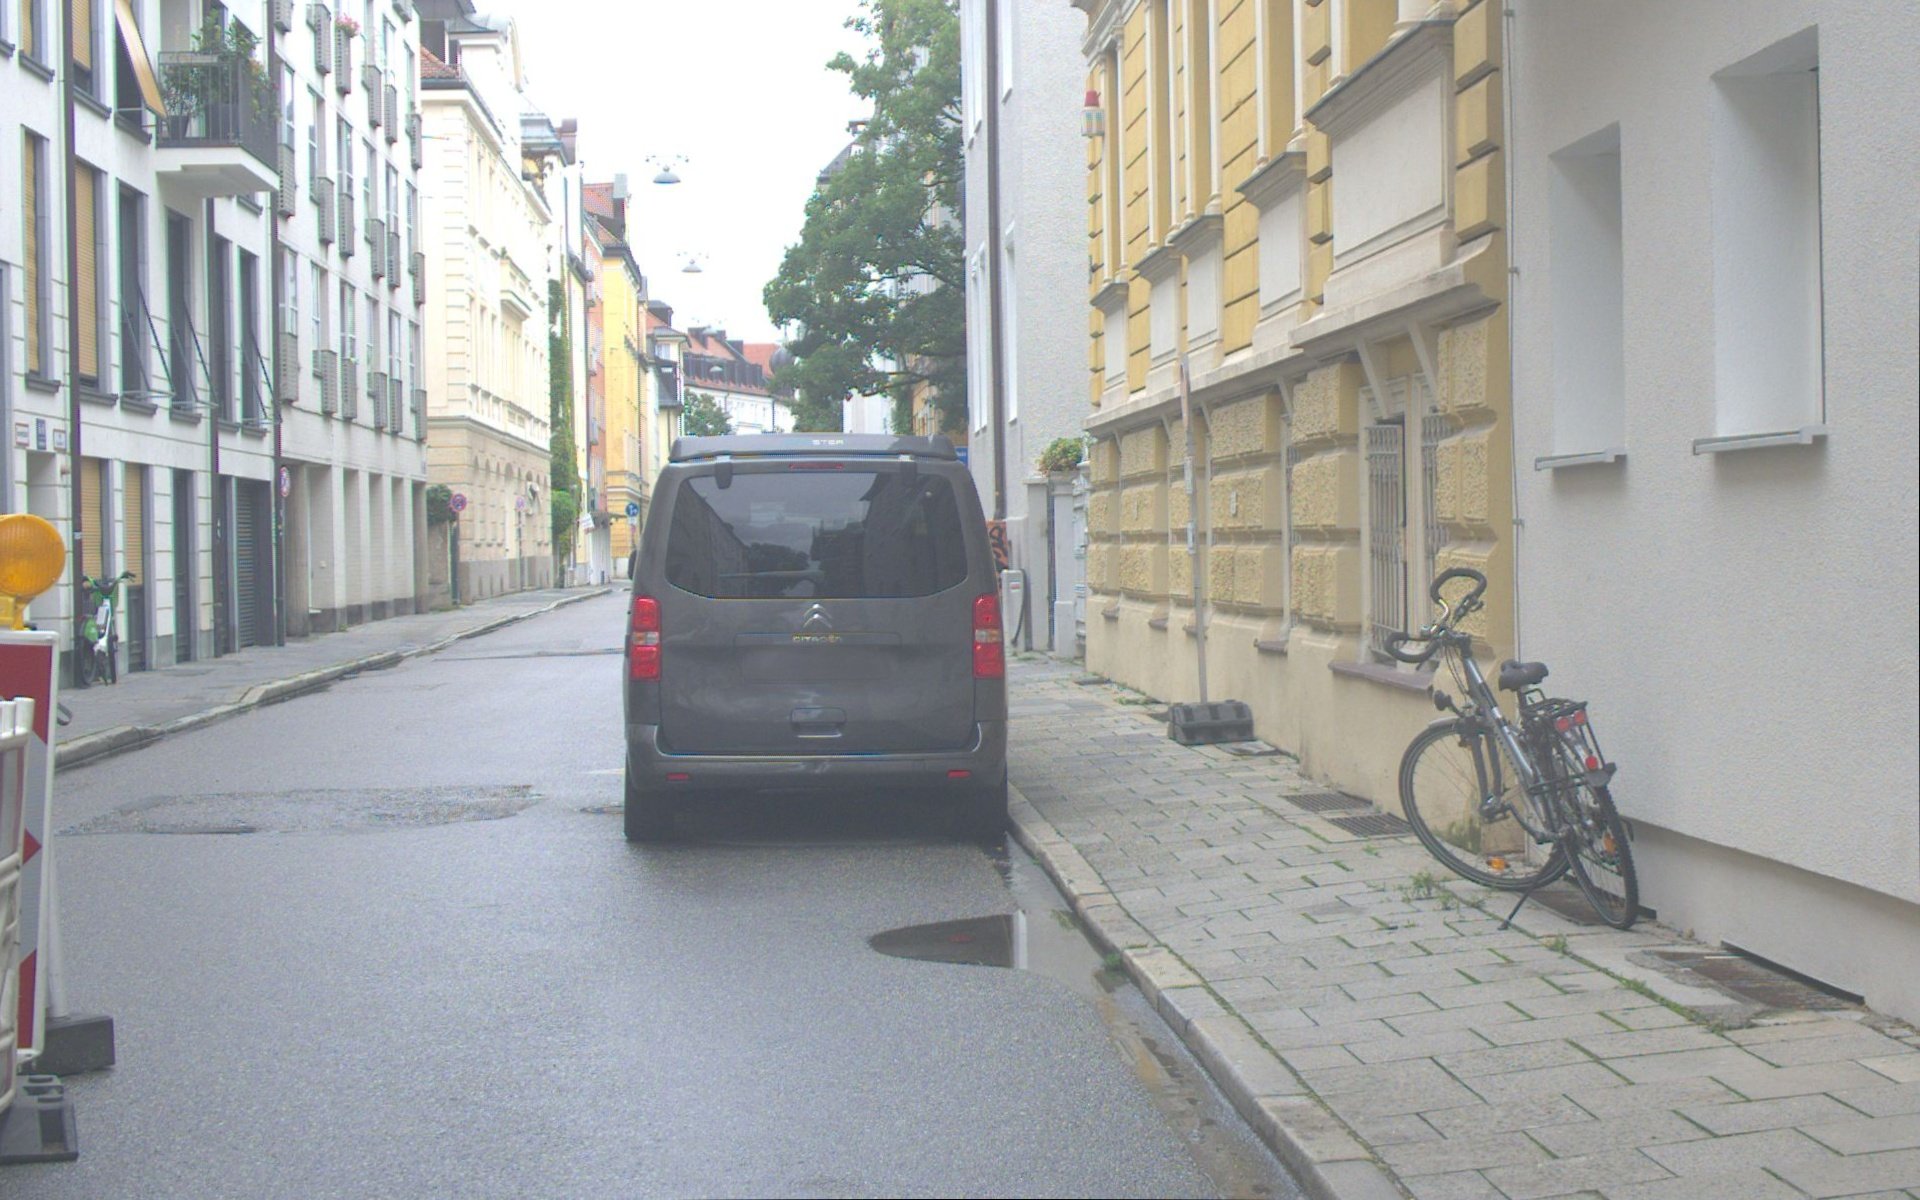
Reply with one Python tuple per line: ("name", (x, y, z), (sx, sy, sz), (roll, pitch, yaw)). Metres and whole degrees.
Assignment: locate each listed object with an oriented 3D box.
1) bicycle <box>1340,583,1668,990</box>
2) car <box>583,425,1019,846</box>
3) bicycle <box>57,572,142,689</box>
("bicycle", (1.765, 0.565, 11.440), (0.638, 1.149, 1.915), (-4, 2, -3))
("car", (-0.888, 0.119, 18.110), (1.993, 1.925, 4.661), (0, 1, -4))
("bicycle", (-8.742, 0.294, 34.991), (0.340, 1.142, 2.191), (-2, 0, -2))
